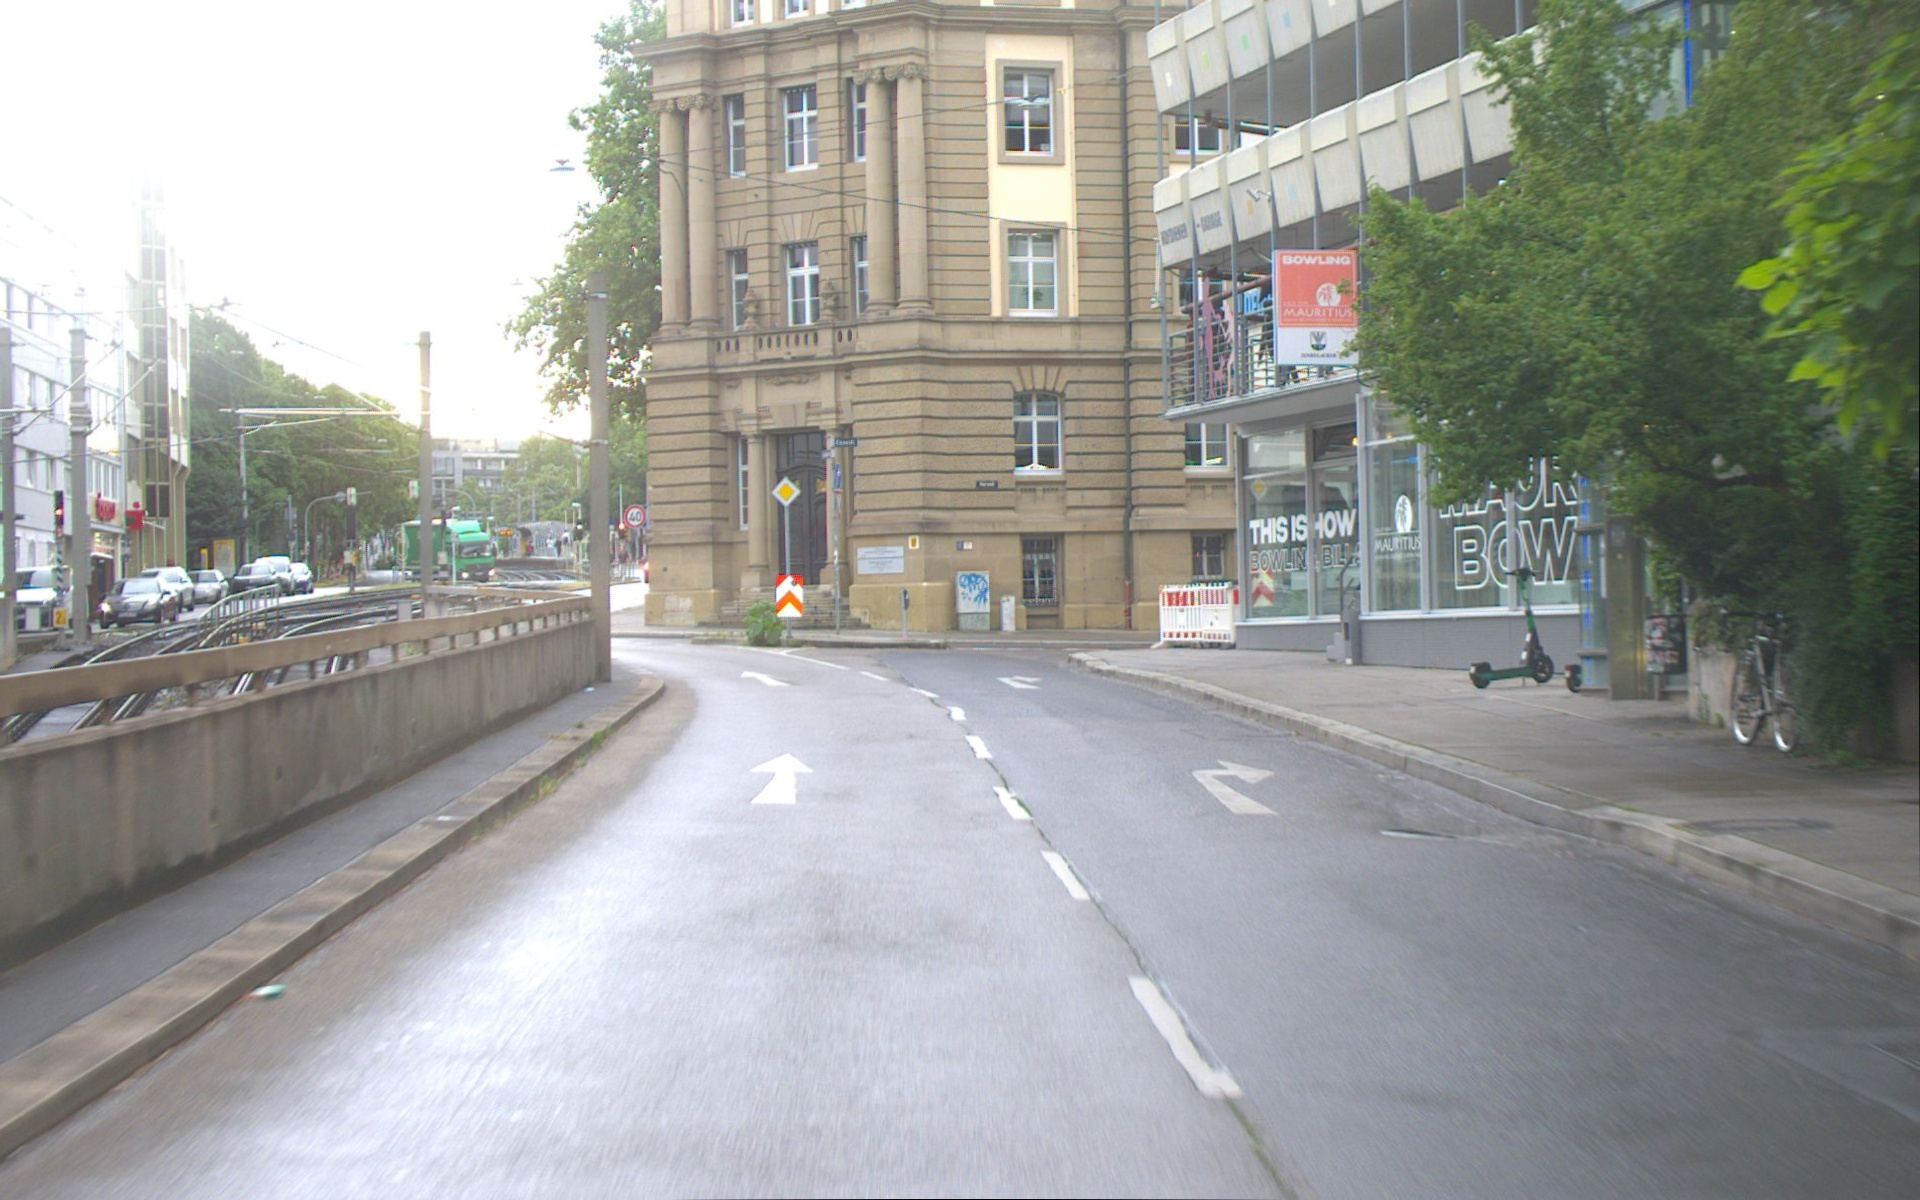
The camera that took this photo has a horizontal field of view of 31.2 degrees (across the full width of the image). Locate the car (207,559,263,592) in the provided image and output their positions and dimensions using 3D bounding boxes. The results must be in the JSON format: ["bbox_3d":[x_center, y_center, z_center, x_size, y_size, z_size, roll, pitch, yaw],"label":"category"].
[{"bbox_3d":[-31.833,-1.091,151.093,1.993,1.451,4.312,0,1,-6],"label":"car"}]

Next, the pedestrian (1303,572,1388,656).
[{"bbox_3d":[5.284,0.183,47.151,0.752,1.119,1.247,-1,1,-15],"label":"pedestrian"}]

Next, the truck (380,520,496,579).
[{"bbox_3d":[-31.201,-3.033,205.192,7.920,3.375,1.995,2,1,39],"label":"truck"}]

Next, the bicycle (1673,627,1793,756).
[{"bbox_3d":[5.744,0.666,25.615,0.470,0.882,1.690,-1,1,-1],"label":"bicycle"}]

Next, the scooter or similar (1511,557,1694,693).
[{"bbox_3d":[6.437,0.243,34.440,1.635,1.263,0.743,-3,2,-26],"label":"scooter or similar"}]

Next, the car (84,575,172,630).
[{"bbox_3d":[-23.863,0.061,98.683,1.993,1.522,3.663,0,1,-6],"label":"car"}]

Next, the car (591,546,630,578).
[{"bbox_3d":[-18.589,-2.041,182.826,1.993,1.656,4.001,0,1,-6],"label":"car"}]

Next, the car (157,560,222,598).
[{"bbox_3d":[-30.151,-0.828,134.599,1.993,1.451,4.312,0,1,-6],"label":"car"}]

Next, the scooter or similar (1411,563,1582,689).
[{"bbox_3d":[5.771,0.268,36.983,1.635,1.263,0.743,-3,2,-26],"label":"scooter or similar"}]

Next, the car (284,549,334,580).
[{"bbox_3d":[-30.921,-1.684,163.474,1.993,1.451,4.312,0,1,-6],"label":"car"}]

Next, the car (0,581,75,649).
[{"bbox_3d":[-27.032,0.416,99.660,1.993,1.876,4.928,0,1,-6],"label":"car"}]
